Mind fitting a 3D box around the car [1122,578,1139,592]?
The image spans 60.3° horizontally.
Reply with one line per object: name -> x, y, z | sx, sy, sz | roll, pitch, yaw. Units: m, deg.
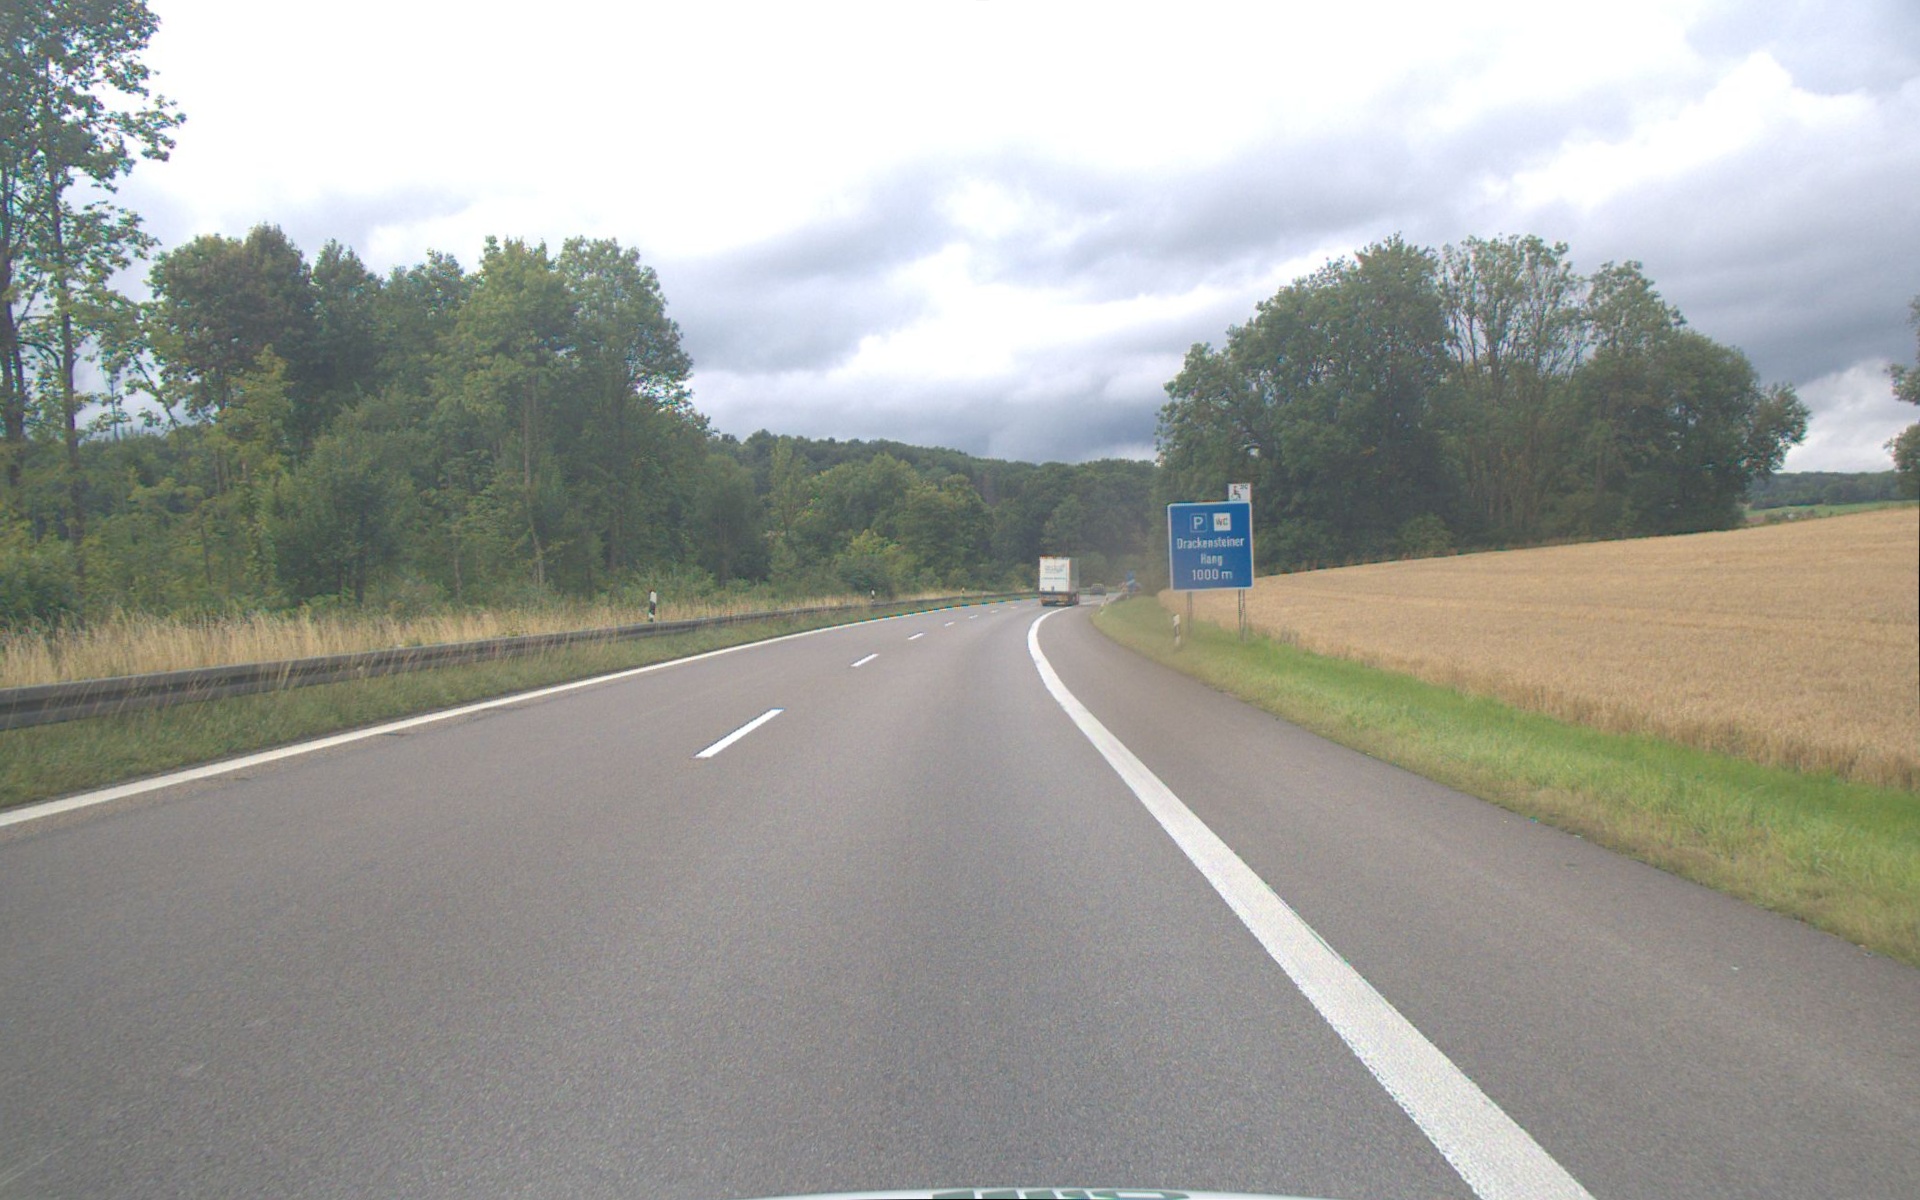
car -> 20.285, -1.747, 196.769 | 1.951, 1.575, 4.003 | -1, 0, 8

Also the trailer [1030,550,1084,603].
trailer -> 8.437, -1.868, 141.275 | 3.725, 4.247, 14.818 | 1, 0, 7

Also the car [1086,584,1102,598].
car -> 18.171, -1.190, 224.133 | 1.862, 1.826, 4.003 | 1, 0, 8

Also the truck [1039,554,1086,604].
truck -> 9.288, -1.826, 148.613 | 3.707, 4.204, 8.270 | 1, 0, 7
